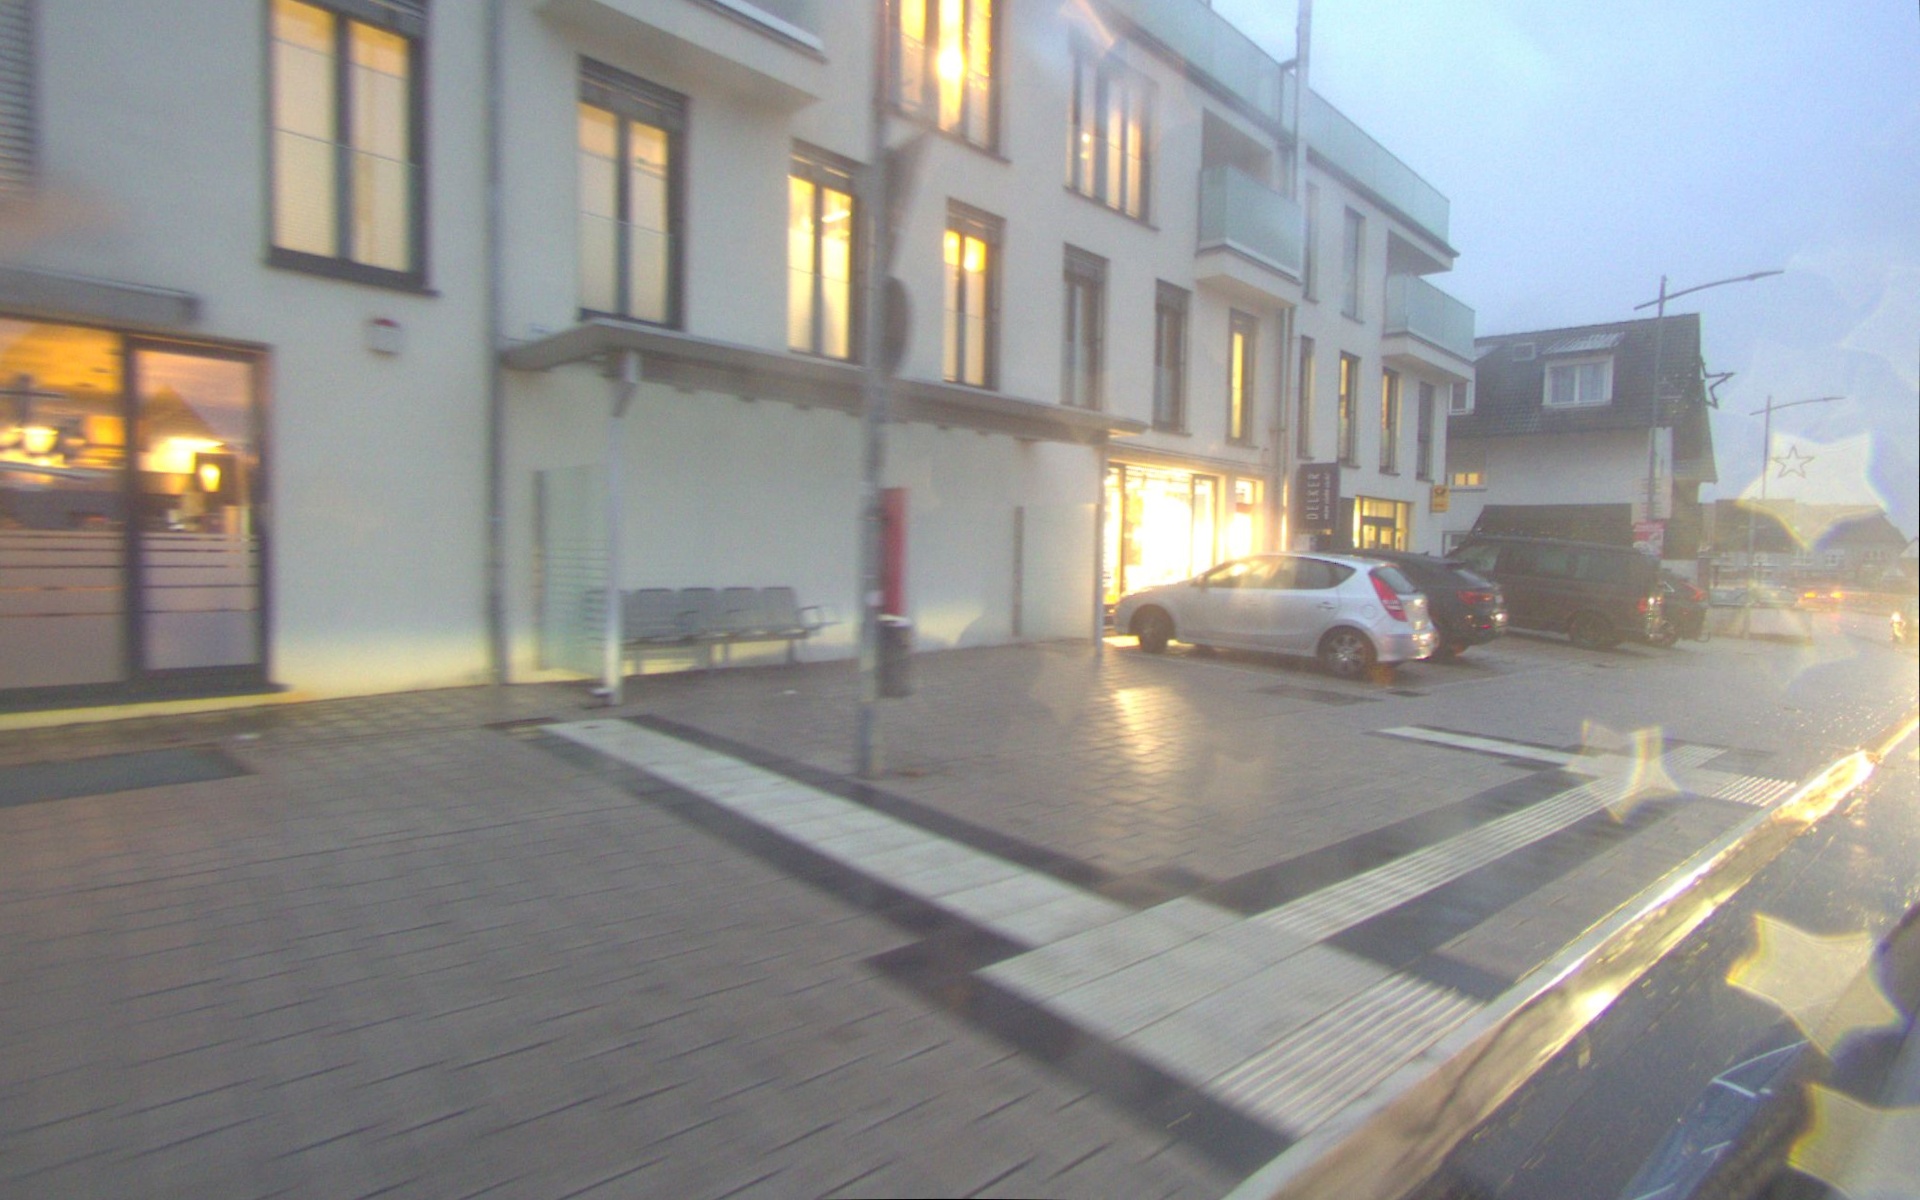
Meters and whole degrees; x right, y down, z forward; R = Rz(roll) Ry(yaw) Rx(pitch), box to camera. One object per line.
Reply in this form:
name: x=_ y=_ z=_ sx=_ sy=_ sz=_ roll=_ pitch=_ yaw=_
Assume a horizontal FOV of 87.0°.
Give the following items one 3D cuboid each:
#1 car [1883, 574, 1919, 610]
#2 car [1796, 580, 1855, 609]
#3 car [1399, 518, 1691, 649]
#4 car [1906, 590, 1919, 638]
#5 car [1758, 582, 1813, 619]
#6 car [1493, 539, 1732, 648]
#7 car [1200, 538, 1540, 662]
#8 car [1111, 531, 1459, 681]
car: x=56.379 y=-0.503 z=59.602 sx=1.982 sy=2.038 sz=3.962 roll=1 pitch=2 yaw=28
car: x=53.275 y=-0.356 z=62.350 sx=1.767 sy=1.641 sz=3.921 roll=3 pitch=2 yaw=27
car: x=11.503 y=-0.416 z=20.122 sx=4.545 sy=1.956 sz=1.944 roll=11 pitch=7 yaw=43
car: x=31.603 y=0.449 z=32.374 sx=1.735 sy=1.461 sz=3.942 roll=1 pitch=2 yaw=40
car: x=37.937 y=0.001 z=46.552 sx=1.841 sy=1.606 sz=3.715 roll=3 pitch=2 yaw=39
car: x=14.409 y=-0.214 z=22.454 sx=4.137 sy=1.653 sz=1.731 roll=13 pitch=8 yaw=38
car: x=6.281 y=-0.112 z=15.859 sx=4.509 sy=1.510 sz=1.945 roll=6 pitch=5 yaw=43
car: x=4.233 y=-0.050 z=13.477 sx=3.981 sy=1.520 sz=1.790 roll=7 pitch=6 yaw=37
